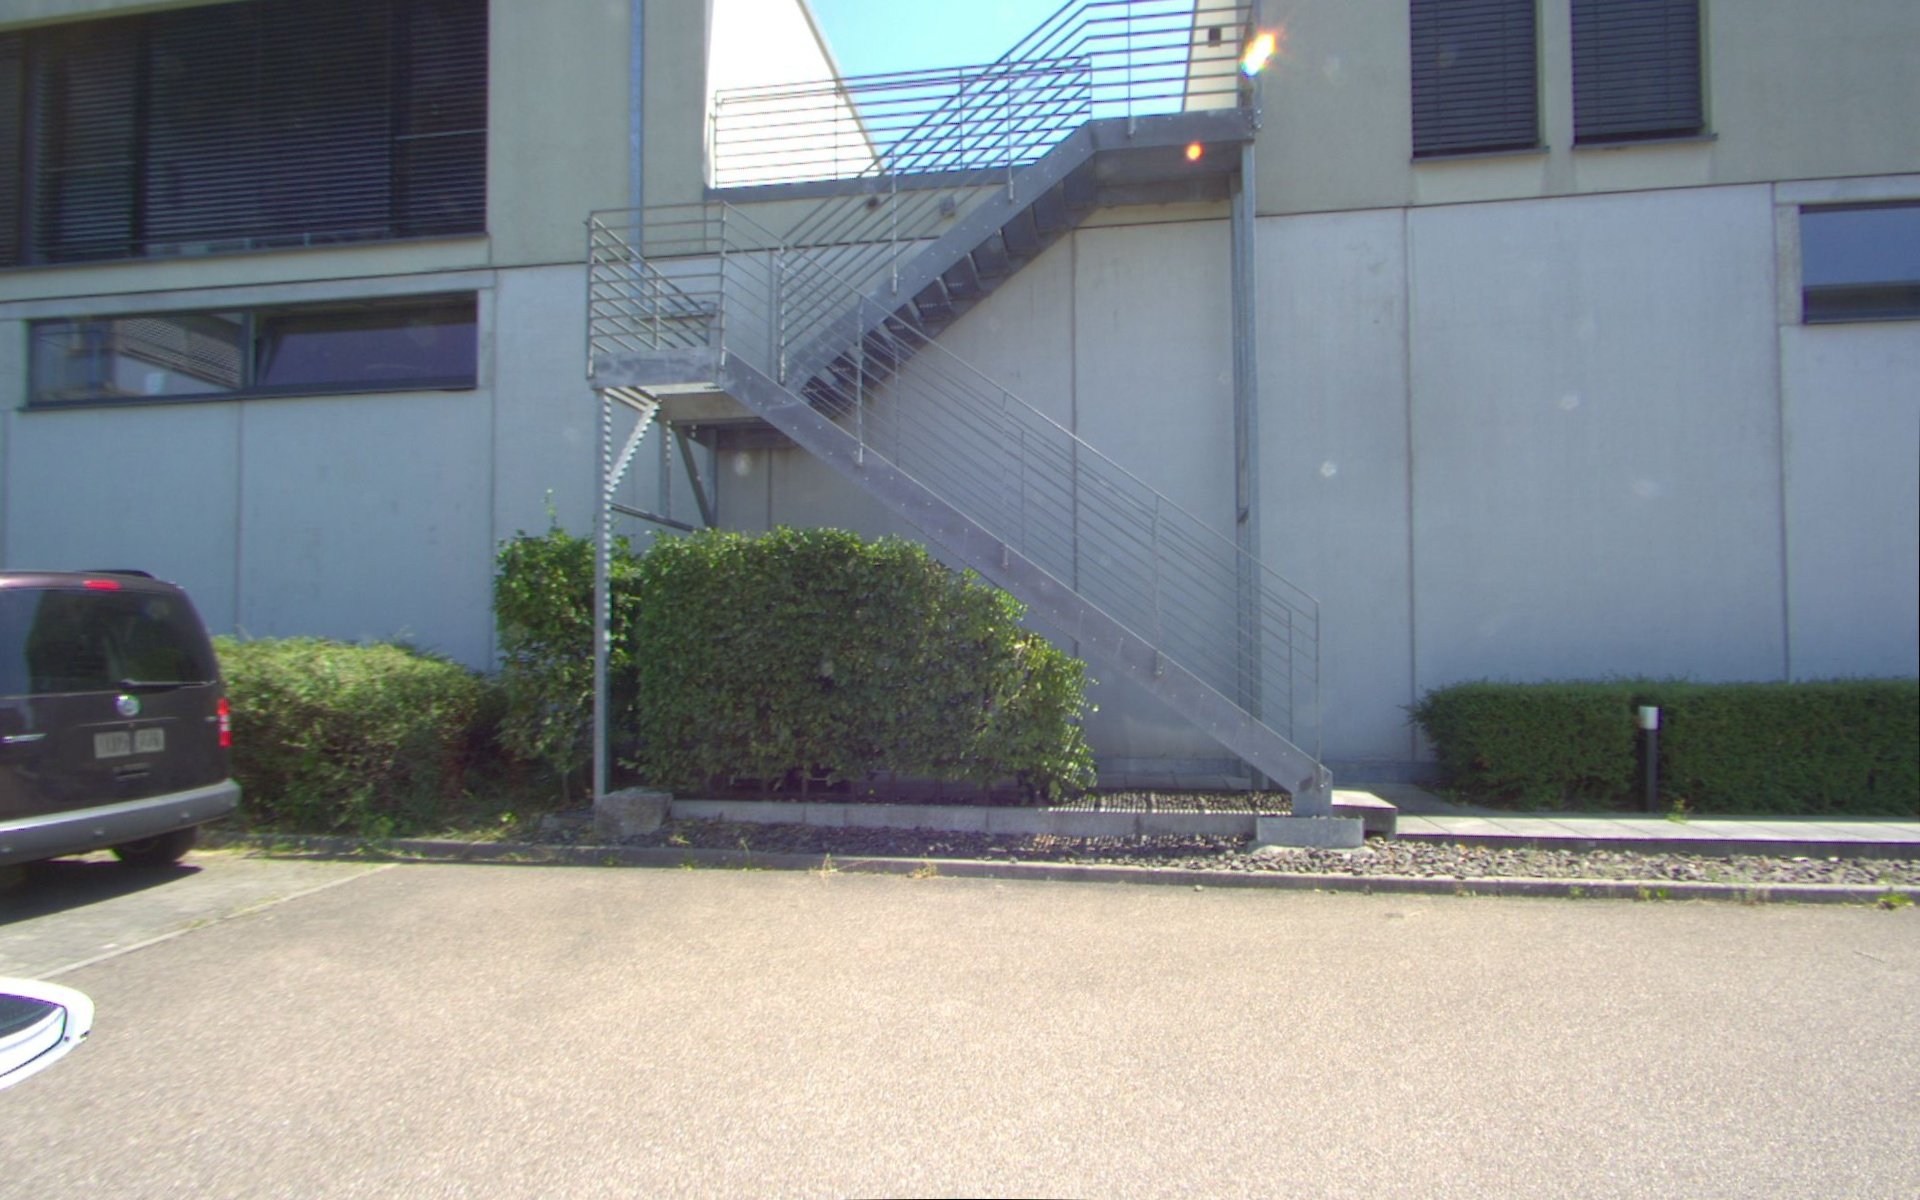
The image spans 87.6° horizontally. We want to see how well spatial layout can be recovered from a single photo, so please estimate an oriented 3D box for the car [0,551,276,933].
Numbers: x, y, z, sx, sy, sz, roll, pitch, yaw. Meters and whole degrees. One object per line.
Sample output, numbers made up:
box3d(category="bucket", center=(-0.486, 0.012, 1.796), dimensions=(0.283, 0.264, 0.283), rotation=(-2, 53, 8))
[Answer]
box3d(category="car", center=(-6.507, 0.742, 5.921), dimensions=(3.923, 1.860, 1.749), rotation=(-1, -1, 8))
